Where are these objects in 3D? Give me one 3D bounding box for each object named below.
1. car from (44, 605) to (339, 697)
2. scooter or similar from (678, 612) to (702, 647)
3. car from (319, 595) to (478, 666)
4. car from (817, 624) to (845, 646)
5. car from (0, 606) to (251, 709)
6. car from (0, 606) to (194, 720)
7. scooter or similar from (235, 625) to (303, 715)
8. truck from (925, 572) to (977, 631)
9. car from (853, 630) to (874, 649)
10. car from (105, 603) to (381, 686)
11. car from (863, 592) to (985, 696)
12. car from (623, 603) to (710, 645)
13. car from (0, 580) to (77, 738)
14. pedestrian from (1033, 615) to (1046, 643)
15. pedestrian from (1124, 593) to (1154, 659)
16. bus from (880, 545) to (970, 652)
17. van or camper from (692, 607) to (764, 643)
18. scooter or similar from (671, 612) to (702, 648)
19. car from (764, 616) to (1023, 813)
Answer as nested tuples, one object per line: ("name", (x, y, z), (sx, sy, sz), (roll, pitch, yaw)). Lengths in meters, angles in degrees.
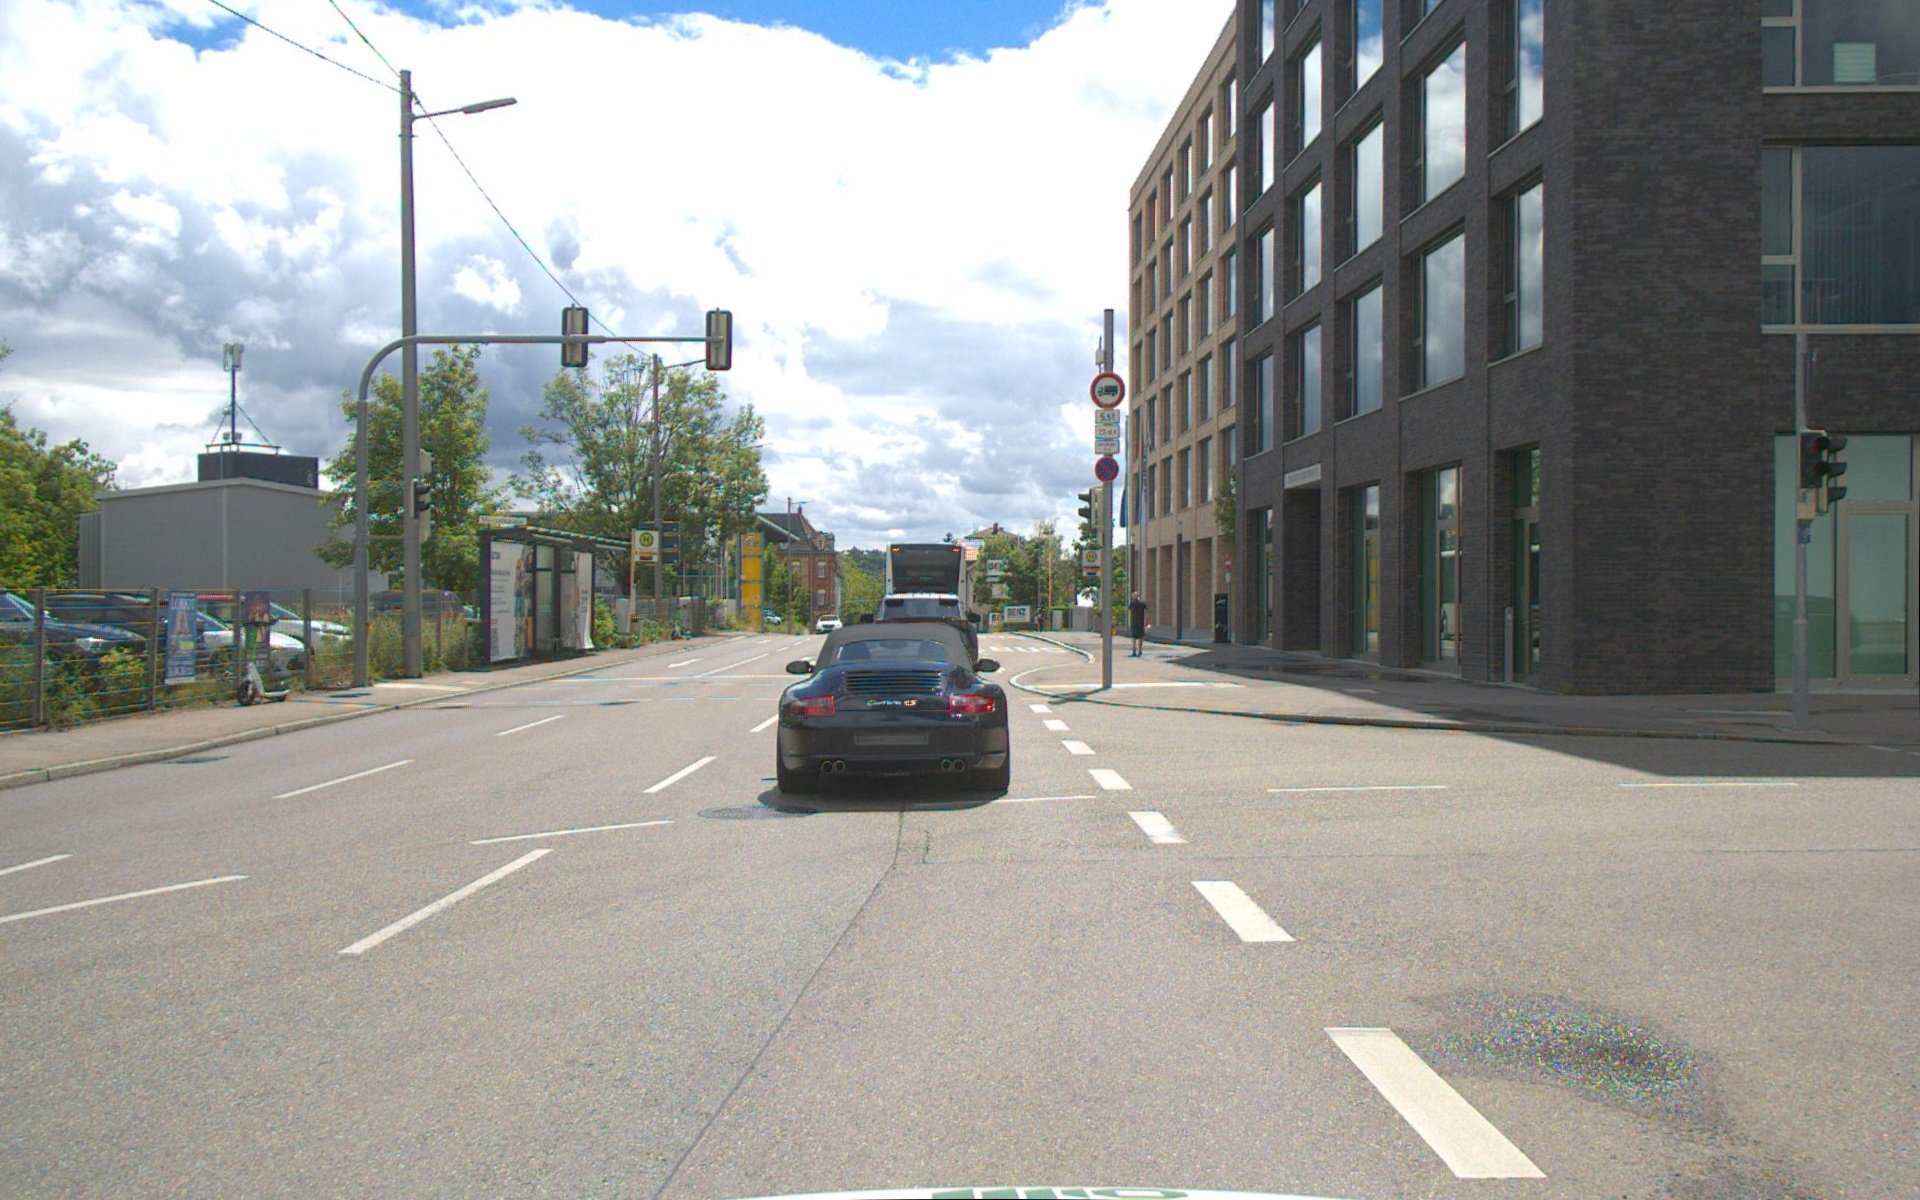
("car", (-12.801, 0.830, 27.739), (4.019, 1.444, 1.916), (-1, 0, -1))
("scooter or similar", (-10.096, 1.084, 61.895), (0.523, 1.288, 1.472), (1, -1, 4))
("car", (-16.908, 0.927, 50.002), (4.197, 2.049, 2.136), (-1, -1, -9))
("car", (-8.933, 2.432, 114.840), (1.760, 1.401, 4.222), (-2, 0, -2))
("car", (-13.055, 0.835, 24.771), (4.022, 1.444, 1.998), (-1, 0, -5))
("car", (-12.846, 0.831, 22.368), (4.020, 1.444, 1.999), (-1, 0, -2))
("scooter or similar", (-9.820, 0.982, 23.524), (0.415, 1.232, 1.126), (1, 0, 3))
("truck", (-0.560, 0.080, 91.840), (2.659, 3.108, 7.710), (-1, 0, -2))
("car", (-8.315, 3.422, 142.960), (1.793, 1.535, 4.273), (-1, -2, -3))
("car", (-13.252, 0.798, 30.768), (4.222, 1.444, 2.024), (-1, 0, 0))
("car", (-0.682, 0.691, 27.888), (1.892, 1.611, 4.204), (0, 0, -4))
("car", (-14.753, 1.204, 83.212), (4.078, 2.049, 2.197), (0, 0, -4))
("car", (-12.854, 0.691, 19.272), (4.023, 1.765, 1.997), (-1, 0, -6))
("pedestrian", (4.467, 1.632, 93.217), (0.673, 1.563, 0.856), (-1, -1, -2))
("pedestrian", (4.873, 0.701, 45.088), (0.669, 1.758, 0.962), (0, 0, -2))
("bus", (-1.087, -0.053, 56.681), (2.745, 3.254, 12.194), (0, 0, 0))
("van or camper", (-16.808, 1.807, 119.843), (4.926, 2.575, 2.317), (0, 0, -3))
("scooter or similar", (-9.968, 1.083, 60.400), (0.523, 1.284, 1.472), (1, -1, 15))
("car", (-0.508, 0.856, 14.198), (1.891, 1.401, 4.207), (0, 0, -1))
